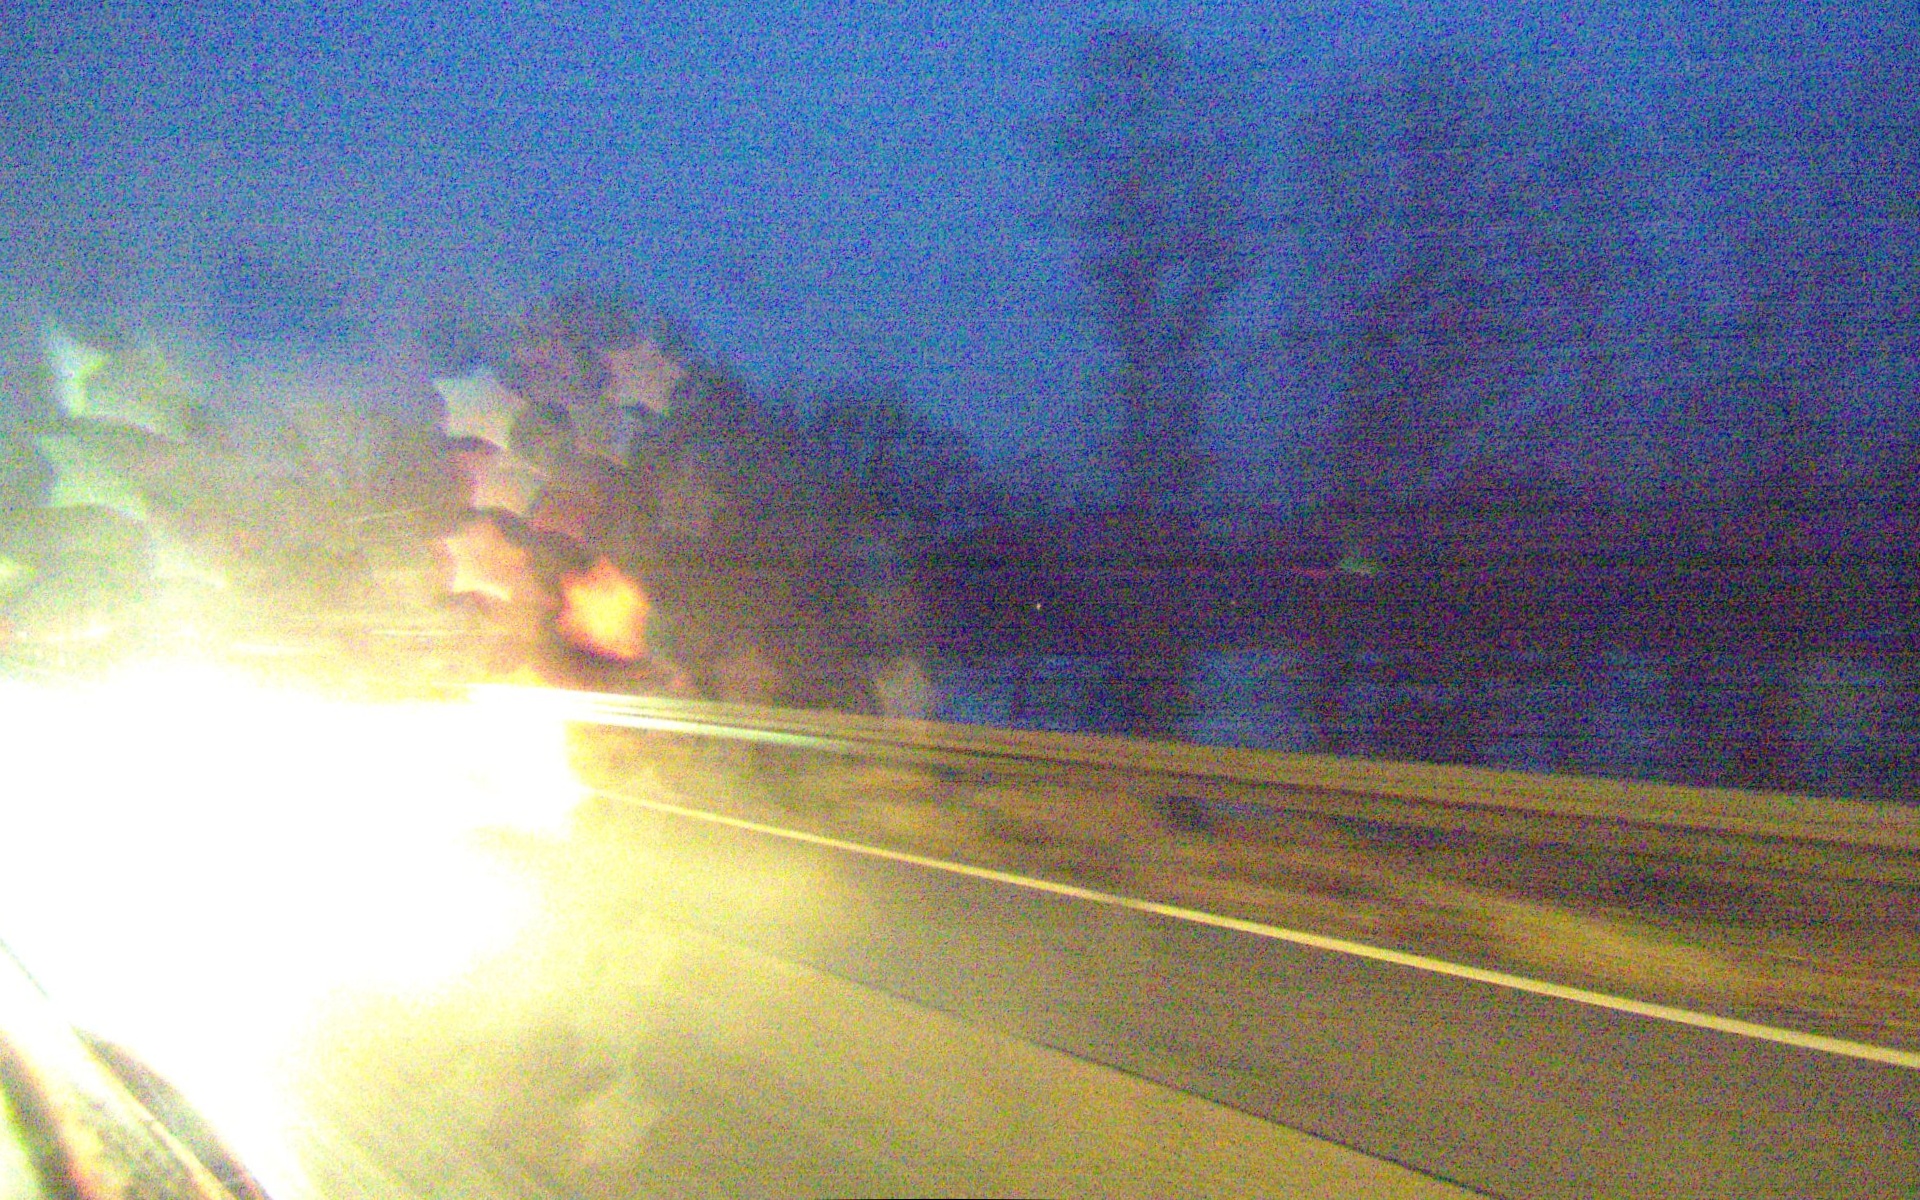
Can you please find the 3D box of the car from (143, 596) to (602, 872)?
[{"bbox_3d":[-4.453,0.739,7.477,3.707,1.516,1.825,0,0,40],"label":"car"}]
